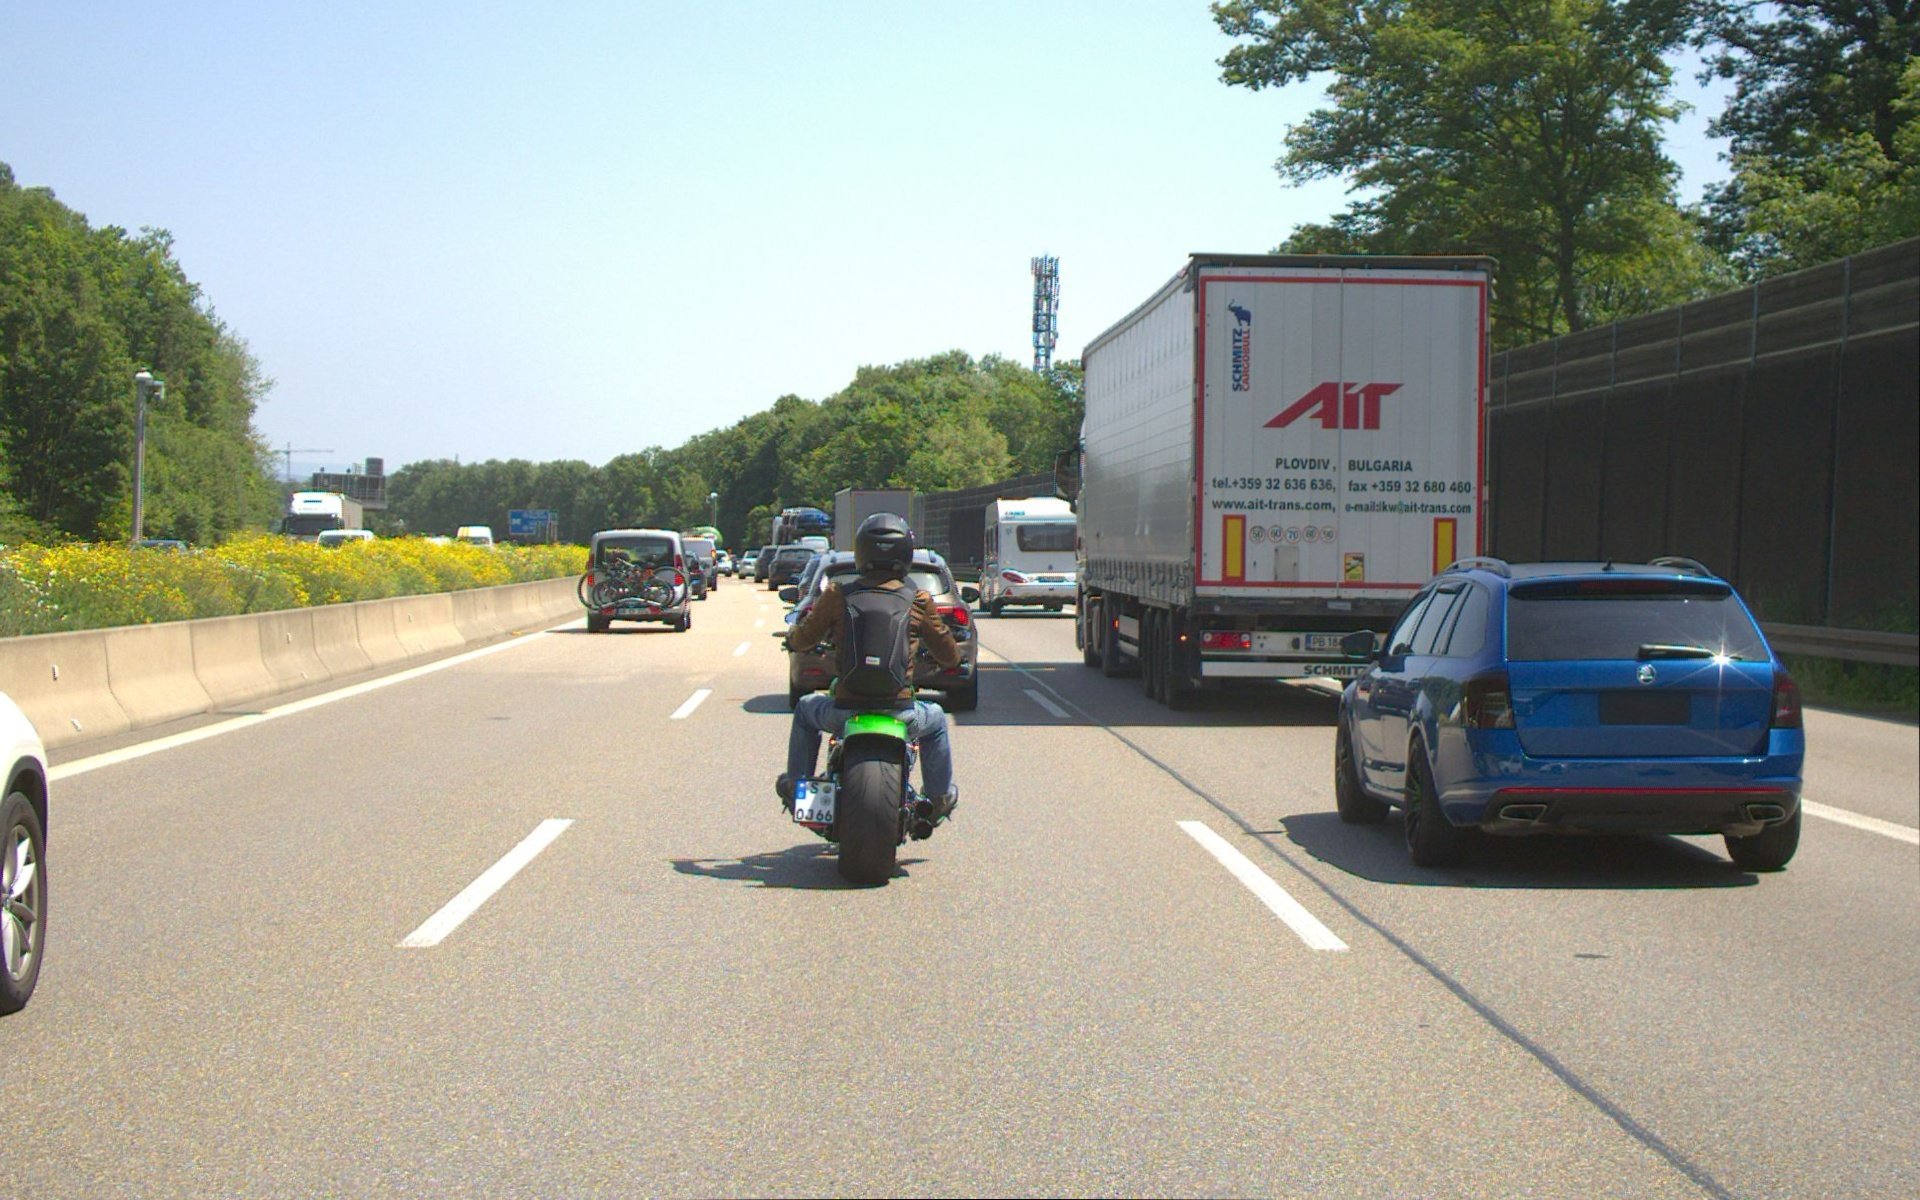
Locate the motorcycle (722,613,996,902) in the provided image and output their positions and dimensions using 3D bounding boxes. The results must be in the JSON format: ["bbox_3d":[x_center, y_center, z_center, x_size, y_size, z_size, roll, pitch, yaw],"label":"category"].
[{"bbox_3d":[-0.411,0.664,15.836,0.965,1.144,2.811,1,1,4],"label":"motorcycle"}]

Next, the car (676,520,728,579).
[{"bbox_3d":[-9.156,-1.771,122.336,1.791,2.007,3.642,0,0,-4],"label":"car"}]

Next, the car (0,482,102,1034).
[{"bbox_3d":[-3.831,0.492,9.388,1.864,1.688,4.956,0,1,-2],"label":"car"}]

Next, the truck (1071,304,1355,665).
[{"bbox_3d":[3.010,-1.365,42.547,2.885,4.132,5.986,0,1,-2],"label":"truck"}]

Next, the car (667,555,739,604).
[{"bbox_3d":[-7.456,-0.578,100.017,1.993,1.382,4.000,0,0,-3],"label":"car"}]

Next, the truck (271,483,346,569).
[{"bbox_3d":[-32.348,-3.645,170.788,2.963,4.093,6.089,0,0,-4],"label":"truck"}]

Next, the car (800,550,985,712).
[{"bbox_3d":[-0.670,0.288,33.000,1.662,1.448,3.869,0,0,-2],"label":"car"}]

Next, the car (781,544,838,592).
[{"bbox_3d":[-5.379,-1.133,122.447,1.993,1.634,4.000,0,0,-3],"label":"car"}]

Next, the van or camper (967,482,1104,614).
[{"bbox_3d":[1.622,-1.102,76.948,2.685,2.803,6.803,0,0,-2],"label":"van or camper"}]

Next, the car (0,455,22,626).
[{"bbox_3d":[-16.382,-0.925,53.416,2.200,2.732,5.748,0,1,-2],"label":"car"}]

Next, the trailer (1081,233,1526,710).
[{"bbox_3d":[3.157,-1.182,36.037,2.885,4.025,13.796,0,1,-2],"label":"trailer"}]

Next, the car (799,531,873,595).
[{"bbox_3d":[-3.088,-0.923,86.082,1.779,1.546,3.585,1,1,-1],"label":"car"}]

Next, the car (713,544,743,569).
[{"bbox_3d":[-14.842,-2.785,219.767,1.832,1.491,3.744,0,0,-5],"label":"car"}]

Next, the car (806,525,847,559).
[{"bbox_3d":[-7.601,-3.275,195.334,2.107,1.870,4.000,0,0,-5],"label":"car"}]

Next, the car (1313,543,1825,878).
[{"bbox_3d":[2.932,0.499,17.487,1.650,1.477,4.482,0,0,-2],"label":"car"}]

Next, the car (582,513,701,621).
[{"bbox_3d":[-5.725,-0.567,62.170,1.899,1.867,4.413,0,0,-2],"label":"car"}]

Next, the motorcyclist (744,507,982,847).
[{"bbox_3d":[-0.417,0.338,15.848,0.900,1.470,1.872,0,0,4],"label":"motorcyclist"}]

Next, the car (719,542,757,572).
[{"bbox_3d":[-11.481,-2.207,178.044,1.832,1.491,3.744,0,0,-2],"label":"car"}]

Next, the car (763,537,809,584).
[{"bbox_3d":[-7.768,-1.761,153.261,1.911,2.007,3.691,0,0,-5],"label":"car"}]

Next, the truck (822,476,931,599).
[{"bbox_3d":[-3.577,-2.545,144.400,3.802,4.943,8.952,0,0,-6],"label":"truck"}]

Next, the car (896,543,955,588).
[{"bbox_3d":[-1.262,-1.237,125.509,1.993,1.569,4.000,0,0,-3],"label":"car"}]

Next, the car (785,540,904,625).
[{"bbox_3d":[-2.047,-0.287,59.971,1.993,1.425,3.847,0,0,-3],"label":"car"}]

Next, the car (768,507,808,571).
[{"bbox_3d":[-10.729,-3.803,214.351,2.133,3.848,8.144,1,1,-5],"label":"car"}]
